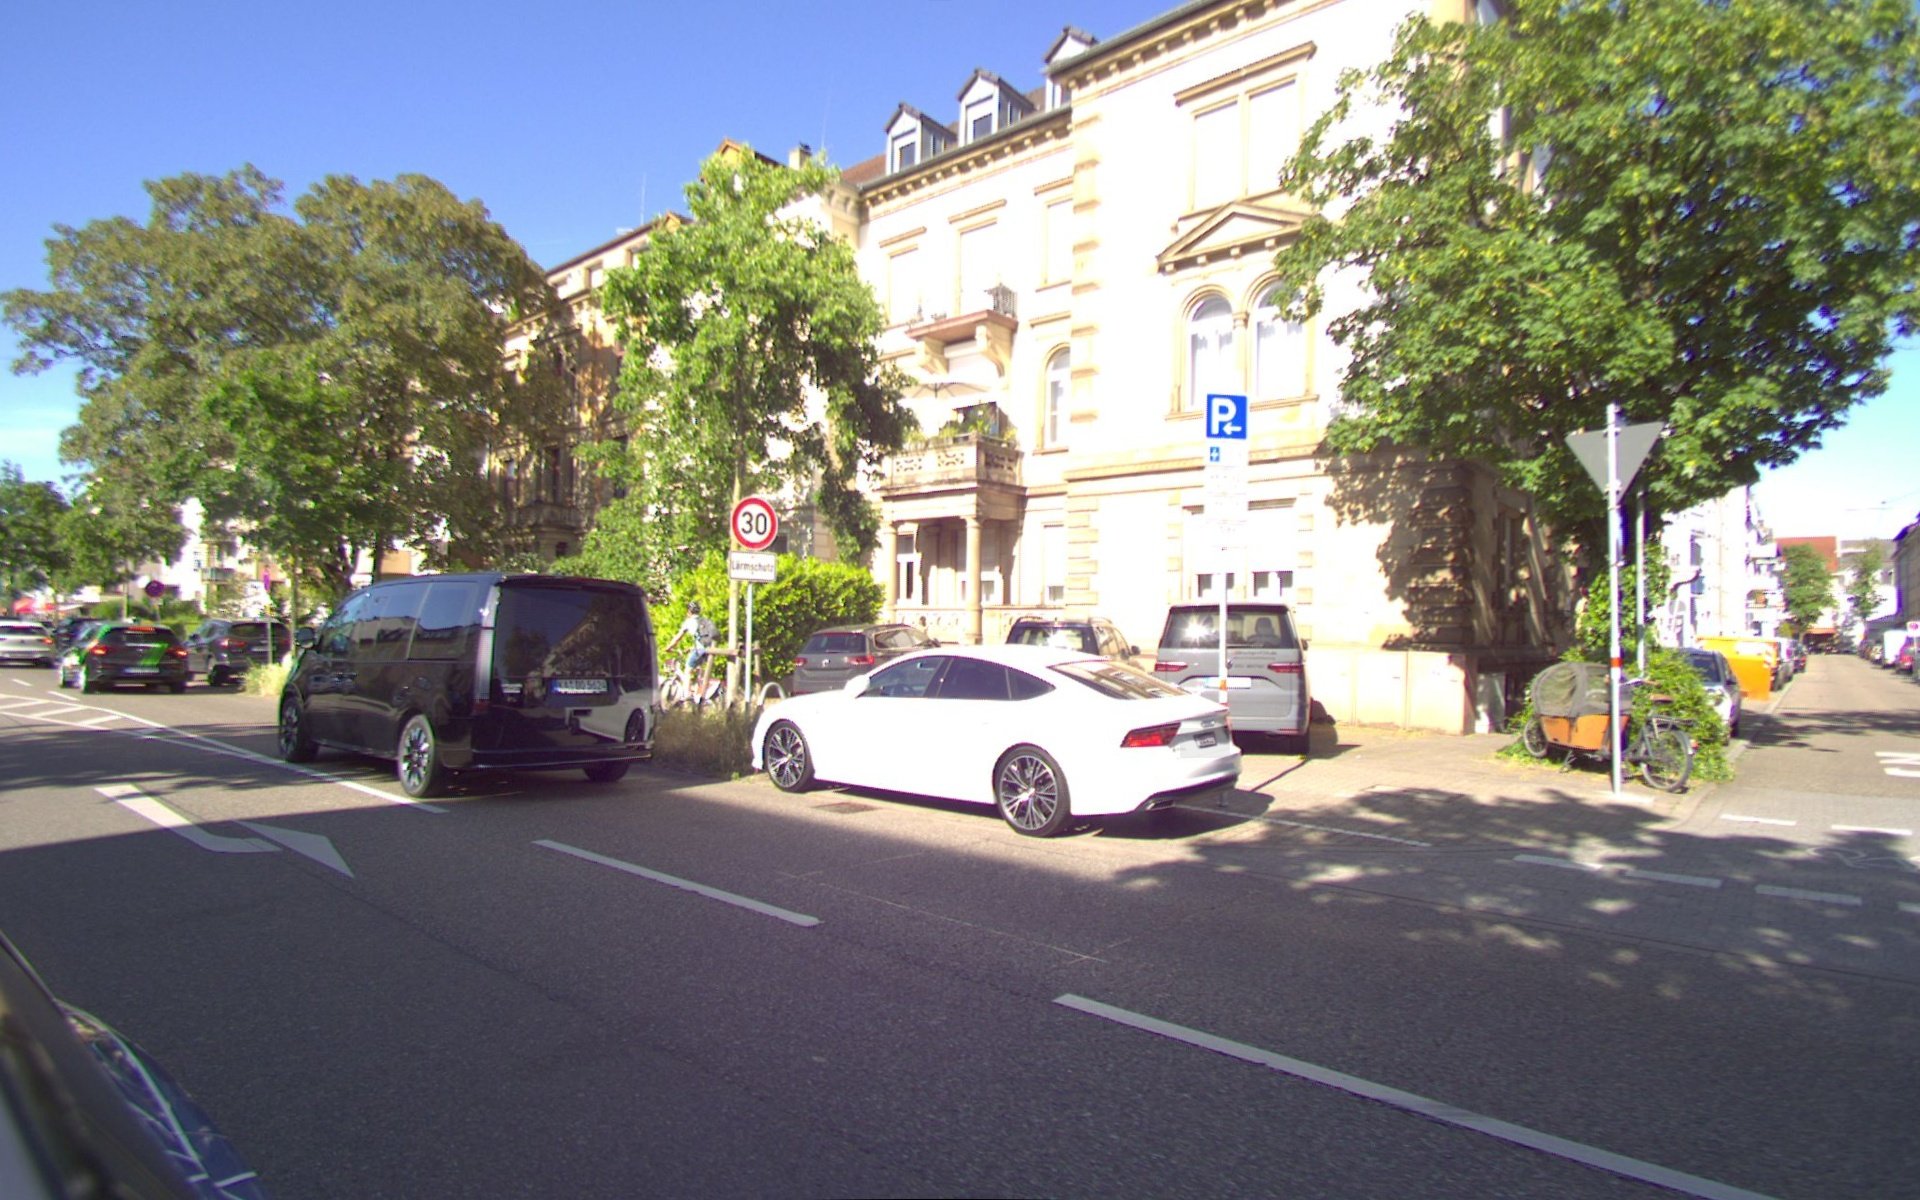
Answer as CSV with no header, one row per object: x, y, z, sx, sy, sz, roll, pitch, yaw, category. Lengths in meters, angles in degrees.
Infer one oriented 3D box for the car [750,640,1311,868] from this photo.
0.369,1.094,8.869,4.799,1.400,1.814,-1,-1,41,car

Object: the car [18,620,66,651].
-45.082,1.725,49.682,3.684,1.501,1.386,-1,-2,42,car

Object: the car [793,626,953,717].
-1.519,1.258,19.042,1.619,1.500,3.897,-1,-2,18,car

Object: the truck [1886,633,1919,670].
65.563,3.568,70.128,1.872,2.438,3.612,-3,-4,41,truck

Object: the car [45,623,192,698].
-18.283,1.280,21.927,4.170,1.464,1.674,-1,-5,40,car

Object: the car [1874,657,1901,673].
76.370,5.333,83.354,1.492,1.275,3.612,-3,-4,40,car

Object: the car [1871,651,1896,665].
83.250,5.207,91.227,1.492,1.275,3.612,-3,-4,40,car

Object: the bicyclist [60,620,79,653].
-47.440,1.956,53.920,0.691,1.767,0.602,-1,-3,41,bicyclist

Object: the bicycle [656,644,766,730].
-3.839,1.290,15.478,2.191,1.202,0.443,-1,-3,41,bicycle

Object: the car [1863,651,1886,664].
88.735,5.570,98.208,1.492,1.275,3.612,-3,-4,40,car

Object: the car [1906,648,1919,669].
58.168,3.522,60.967,1.492,1.275,3.612,-3,-4,40,car

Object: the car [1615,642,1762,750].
12.100,1.501,16.726,1.646,1.499,3.743,1,-2,41,car

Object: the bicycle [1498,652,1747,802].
7.120,1.283,11.176,0.941,1.271,3.168,2,-1,7,bicycle

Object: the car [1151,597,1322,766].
3.711,0.973,13.678,1.862,1.893,4.307,-1,-2,15,car

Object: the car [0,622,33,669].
-35.227,1.596,36.675,4.398,1.626,1.817,-1,-5,41,car

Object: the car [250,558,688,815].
-5.152,0.763,10.237,5.174,1.967,1.995,-1,-4,40,car

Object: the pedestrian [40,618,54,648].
-51.693,1.867,57.295,0.719,1.663,0.464,-1,-2,42,pedestrian

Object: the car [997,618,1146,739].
1.879,1.139,16.042,1.666,1.657,3.899,-1,-2,17,car

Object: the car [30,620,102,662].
-35.889,1.605,40.597,4.392,1.617,1.652,-1,-2,42,car

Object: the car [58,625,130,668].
-31.954,1.668,37.300,3.931,1.488,1.584,-1,-2,43,car

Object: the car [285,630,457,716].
-11.343,1.309,19.385,4.088,1.427,1.620,-1,-1,41,car

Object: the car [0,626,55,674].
-29.846,1.531,31.667,4.190,1.423,1.715,-1,-5,41,car

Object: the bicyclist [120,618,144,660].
-35.953,1.697,43.943,1.207,1.780,0.576,-1,-1,40,bicyclist

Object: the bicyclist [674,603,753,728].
-3.772,0.978,15.469,1.054,1.838,0.651,-1,-3,41,bicyclist

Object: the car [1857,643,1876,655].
103.655,5.621,115.727,1.492,1.275,3.612,-3,-4,40,car

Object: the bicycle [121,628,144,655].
-35.901,1.779,43.908,1.763,1.124,0.444,-1,-1,41,bicycle

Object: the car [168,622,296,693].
-18.256,1.366,25.305,4.345,1.600,1.608,-1,-1,40,car
